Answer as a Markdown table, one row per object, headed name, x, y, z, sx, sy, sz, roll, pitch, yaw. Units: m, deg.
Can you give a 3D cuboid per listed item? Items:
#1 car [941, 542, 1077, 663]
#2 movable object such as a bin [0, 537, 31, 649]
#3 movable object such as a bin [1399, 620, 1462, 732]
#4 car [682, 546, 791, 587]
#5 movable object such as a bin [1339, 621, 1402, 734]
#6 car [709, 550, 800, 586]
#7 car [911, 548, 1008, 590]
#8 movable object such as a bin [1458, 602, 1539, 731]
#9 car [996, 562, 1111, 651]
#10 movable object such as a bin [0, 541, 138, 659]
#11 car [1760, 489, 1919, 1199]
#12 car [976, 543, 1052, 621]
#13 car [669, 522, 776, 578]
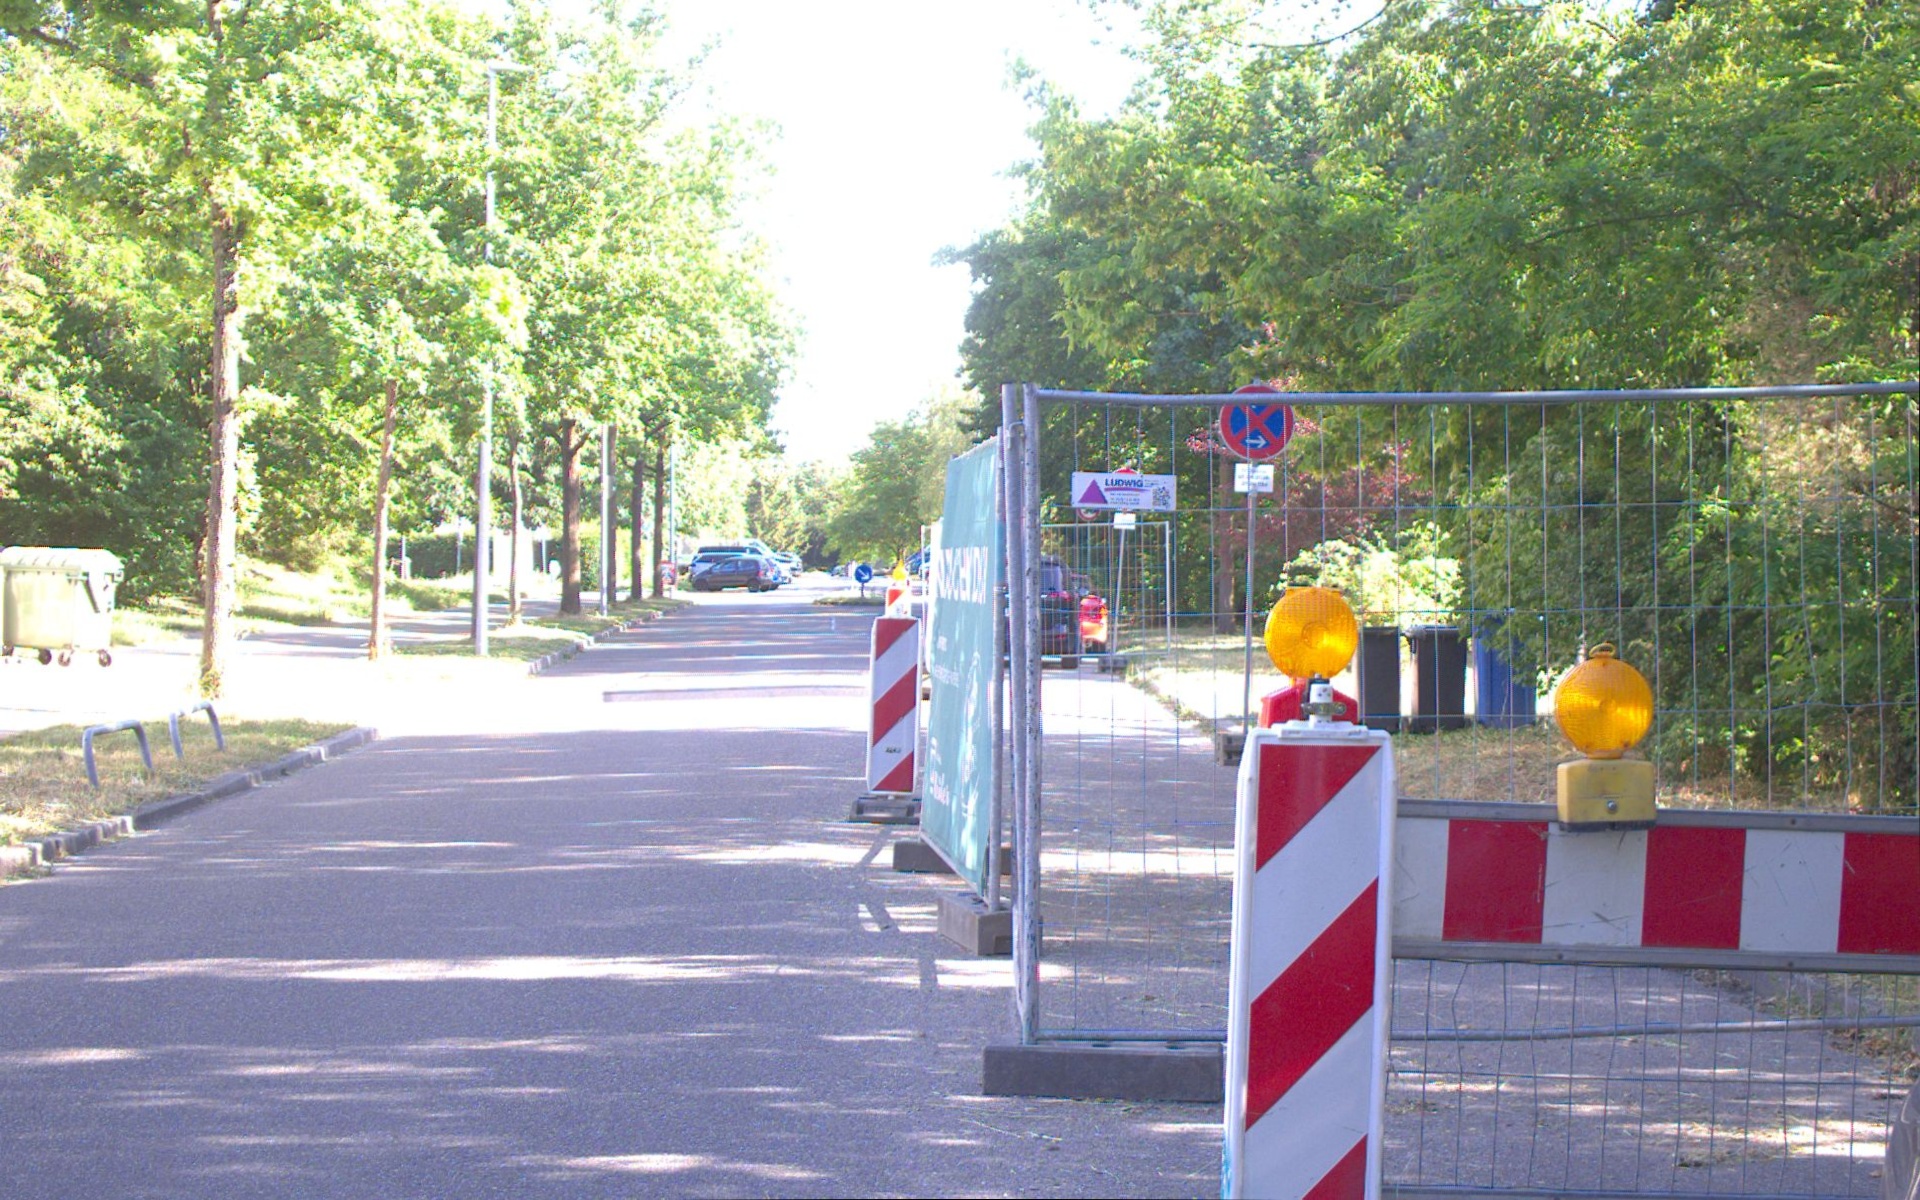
| name | x | y | z | sx | sy | sz | roll | pitch | yaw |
| --- | --- | --- | --- | --- | --- | --- | --- | --- | --- |
| car | 0.769 | 0.012 | 50.997 | 1.810 | 1.645 | 4.420 | 2 | 1 | 3 |
| movable object such as a bin | -12.705 | -0.097 | 44.149 | 1.141 | 1.430 | 1.273 | 0 | 1 | -35 |
| movable object such as a bin | 3.745 | 0.600 | 27.380 | 0.413 | 0.867 | 0.484 | -1 | 0 | -1 |
| car | -9.580 | -1.432 | 147.407 | 4.319 | 1.571 | 2.046 | 2 | 1 | 6 |
| movable object such as a bin | 3.255 | 0.612 | 27.282 | 0.413 | 0.867 | 0.484 | -1 | 0 | -1 |
| car | -9.774 | -1.538 | 163.712 | 4.107 | 1.571 | 1.958 | 2 | 1 | 1 |
| car | -0.005 | -1.290 | 143.021 | 3.839 | 1.571 | 1.688 | 2 | 1 | 6 |
| movable object such as a bin | 4.264 | 0.525 | 27.263 | 0.519 | 0.996 | 0.608 | -1 | 0 | -1 |
| car | 1.539 | 0.077 | 57.891 | 1.661 | 1.371 | 4.155 | 2 | 1 | -2 |
| movable object such as a bin | -11.046 | -0.013 | 42.609 | 1.270 | 1.430 | 1.180 | 0 | 1 | 15 |
| car | 2.029 | 0.718 | 2.724 | 1.678 | 1.616 | 4.138 | 1 | 1 | -2 |
| car | 1.276 | -0.455 | 82.456 | 1.623 | 1.767 | 3.669 | 2 | 1 | -1 |
| car | -11.920 | -2.493 | 172.618 | 5.199 | 2.612 | 2.294 | 2 | 1 | -6 |
